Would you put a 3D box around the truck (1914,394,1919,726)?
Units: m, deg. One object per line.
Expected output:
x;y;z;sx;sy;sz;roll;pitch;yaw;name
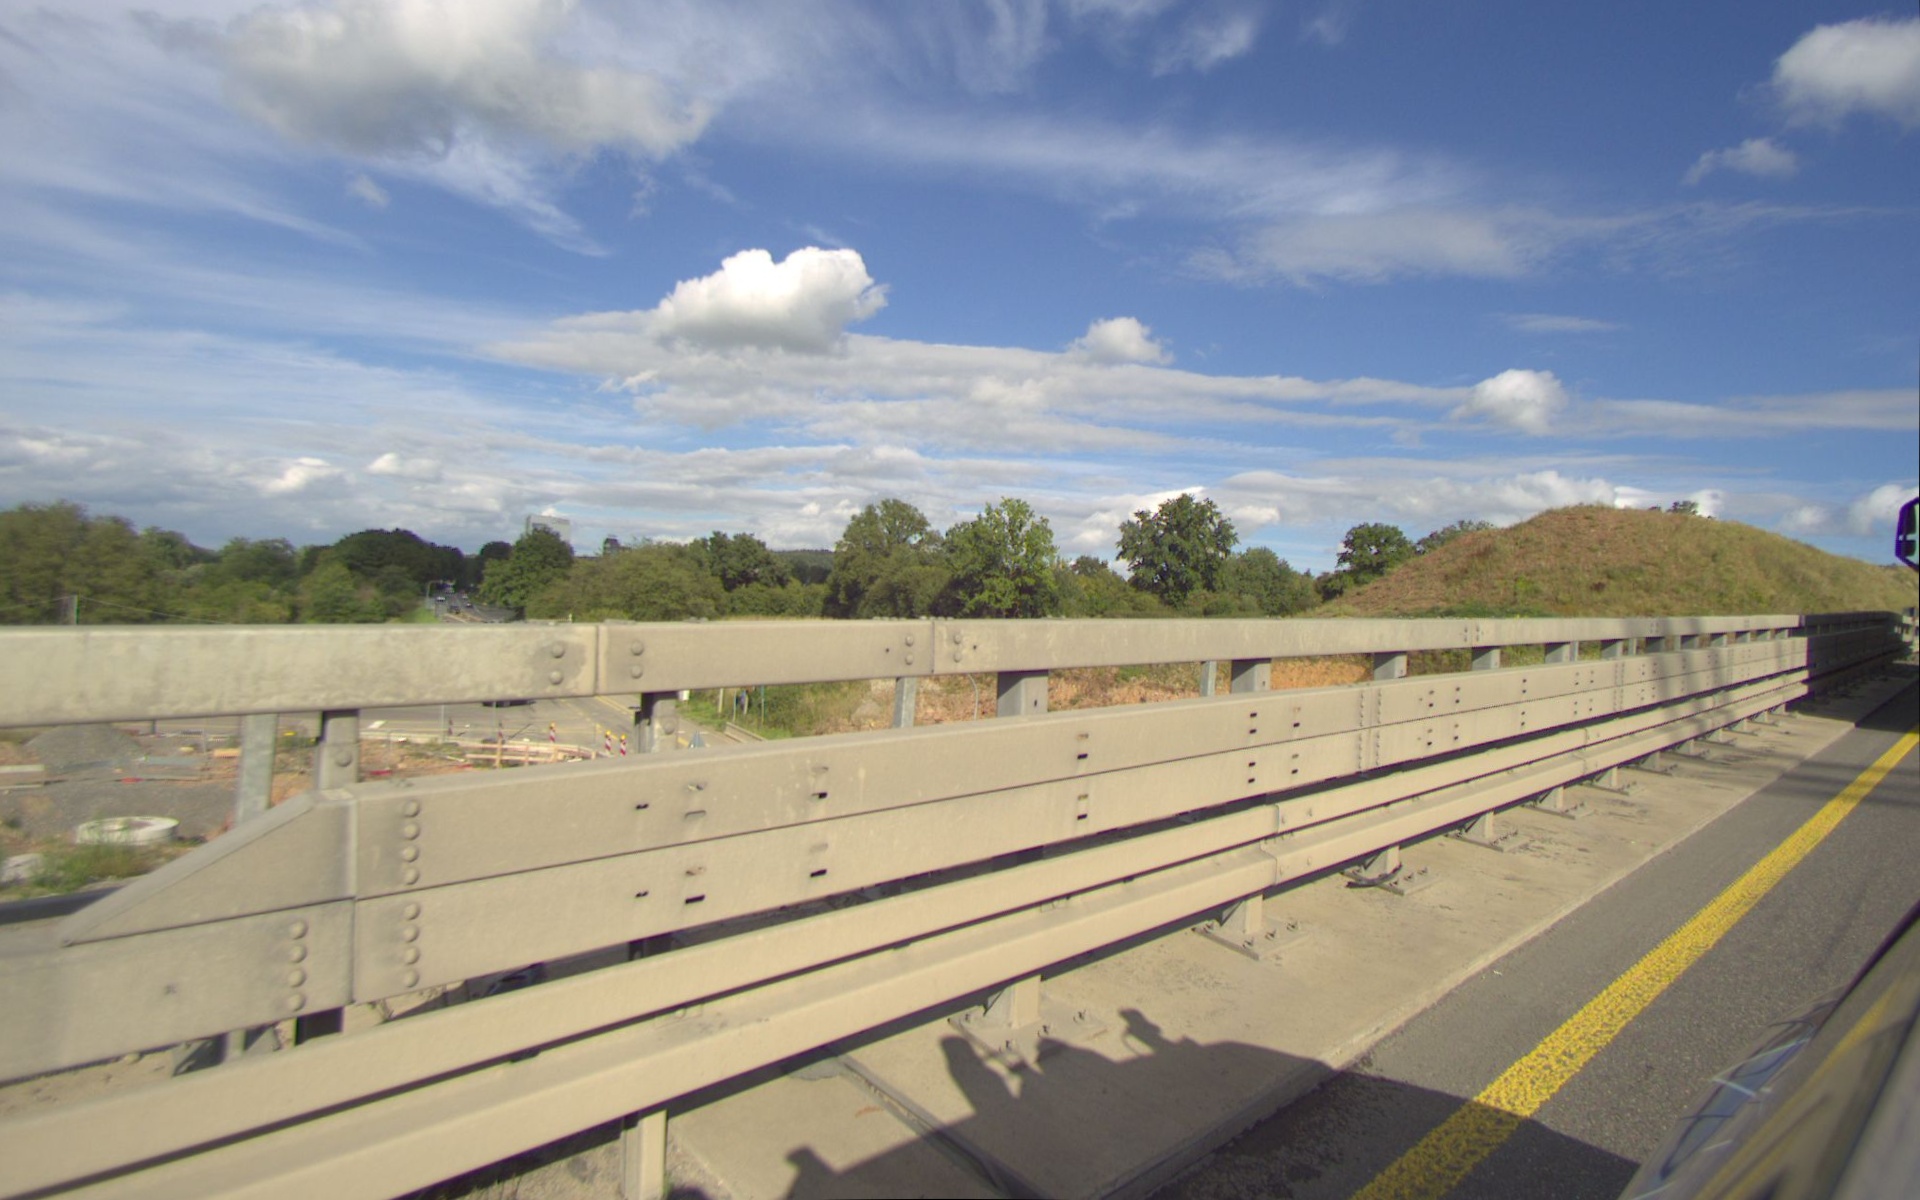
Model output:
15.866;-0.529;14.333;10.142;3.896;2.660;-1;0;-42;truck
